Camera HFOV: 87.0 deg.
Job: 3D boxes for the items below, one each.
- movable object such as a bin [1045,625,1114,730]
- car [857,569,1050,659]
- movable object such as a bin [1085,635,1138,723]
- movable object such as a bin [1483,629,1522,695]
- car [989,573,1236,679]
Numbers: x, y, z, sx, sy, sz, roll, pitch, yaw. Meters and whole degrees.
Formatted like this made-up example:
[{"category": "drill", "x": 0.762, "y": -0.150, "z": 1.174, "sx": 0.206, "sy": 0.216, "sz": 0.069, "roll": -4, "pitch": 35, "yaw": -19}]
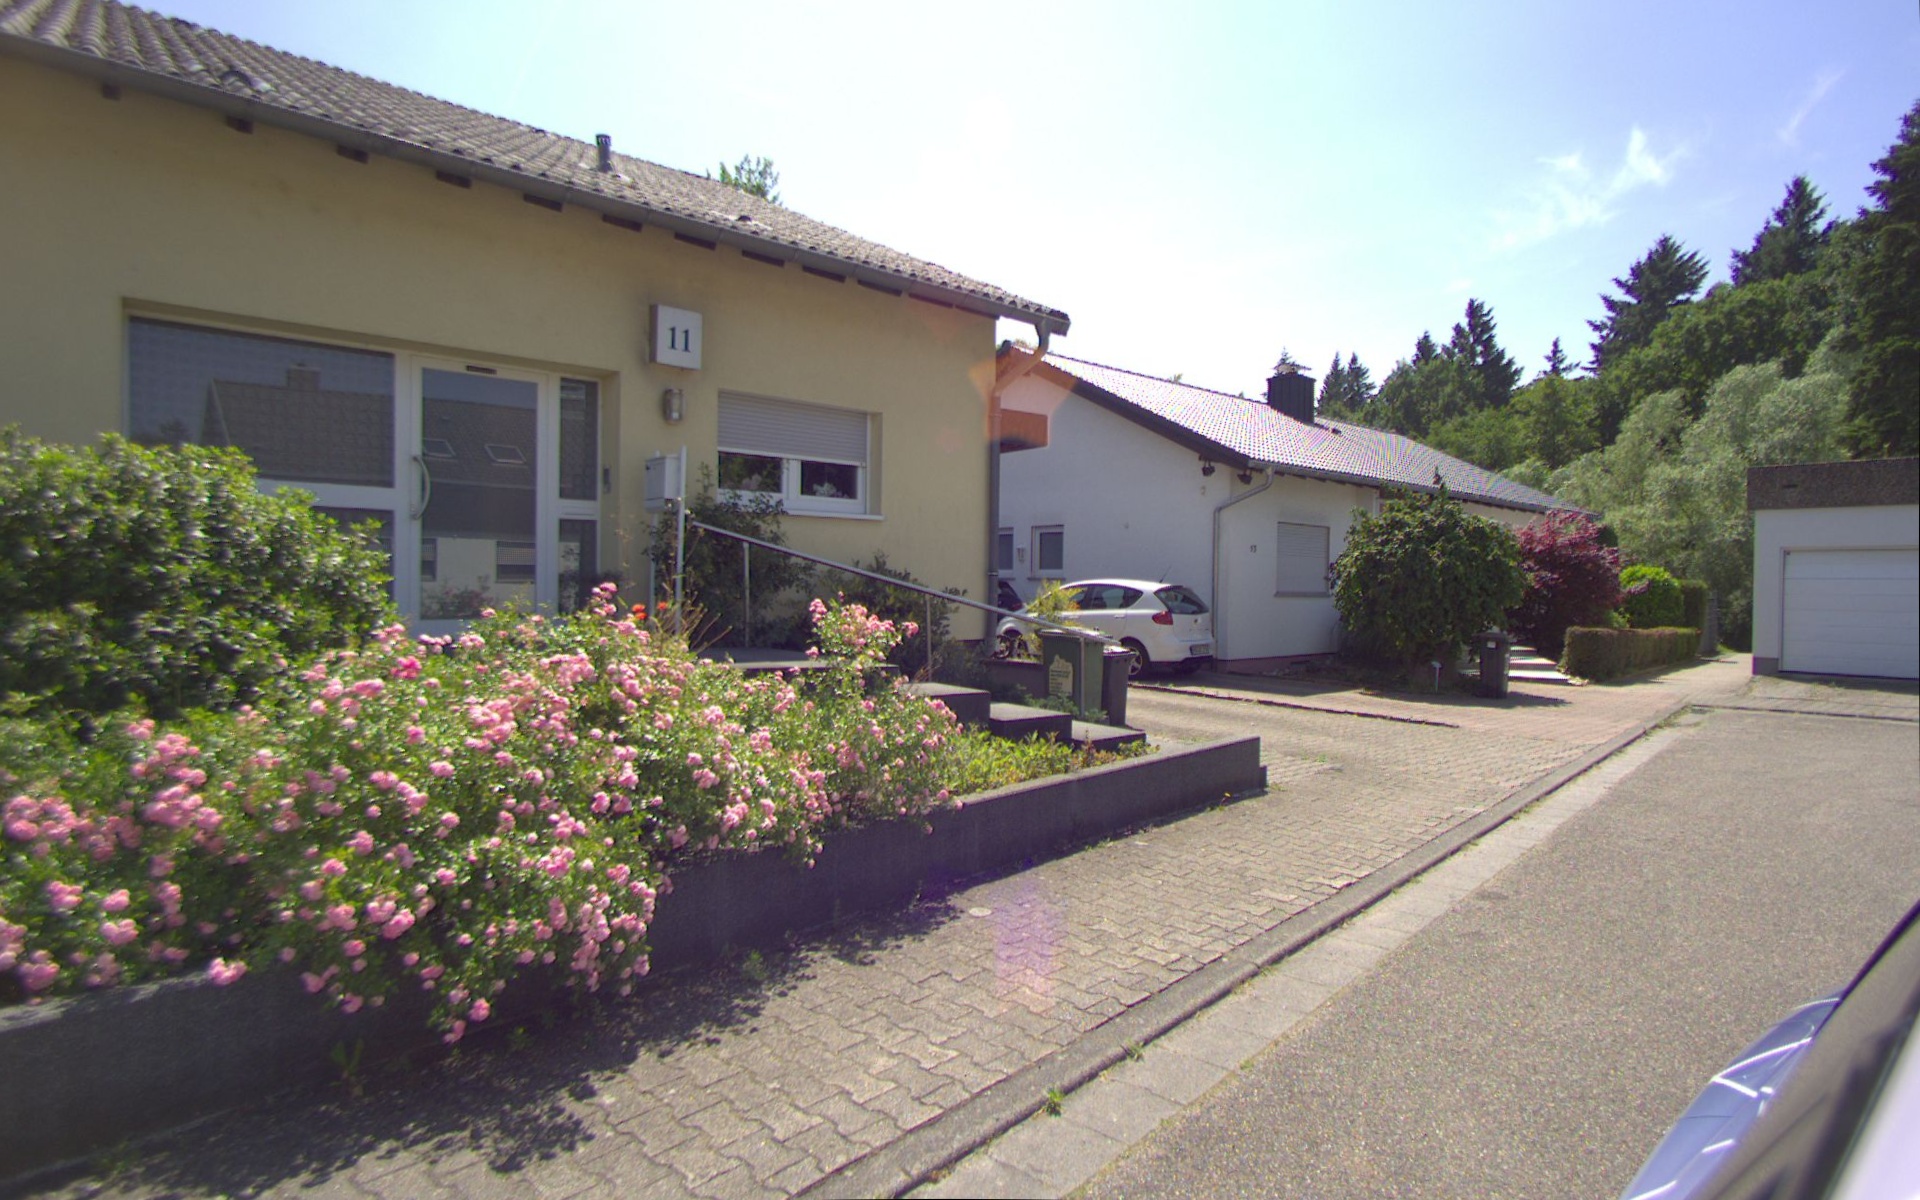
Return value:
[{"category": "movable object such as a bin", "x": 1.276, "y": 0.808, "z": 10.805, "sx": 0.490, "sy": 1.054, "sz": 0.584, "roll": 1, "pitch": 1, "yaw": 42}, {"category": "car", "x": -0.231, "y": 0.205, "z": 20.882, "sx": 1.895, "sy": 1.627, "sz": 3.996, "roll": -1, "pitch": 2, "yaw": -40}, {"category": "movable object such as a bin", "x": 1.671, "y": 0.859, "z": 11.150, "sx": 0.425, "sy": 0.902, "sz": 0.401, "roll": 1, "pitch": 1, "yaw": 42}, {"category": "movable object such as a bin", "x": 7.781, "y": 0.884, "z": 14.510, "sx": 0.369, "sy": 0.902, "sz": 0.390, "roll": -1, "pitch": 1, "yaw": -42}, {"category": "car", "x": 2.515, "y": 0.357, "z": 17.403, "sx": 1.723, "sy": 1.588, "sz": 3.991, "roll": 0, "pitch": 1, "yaw": -44}]
